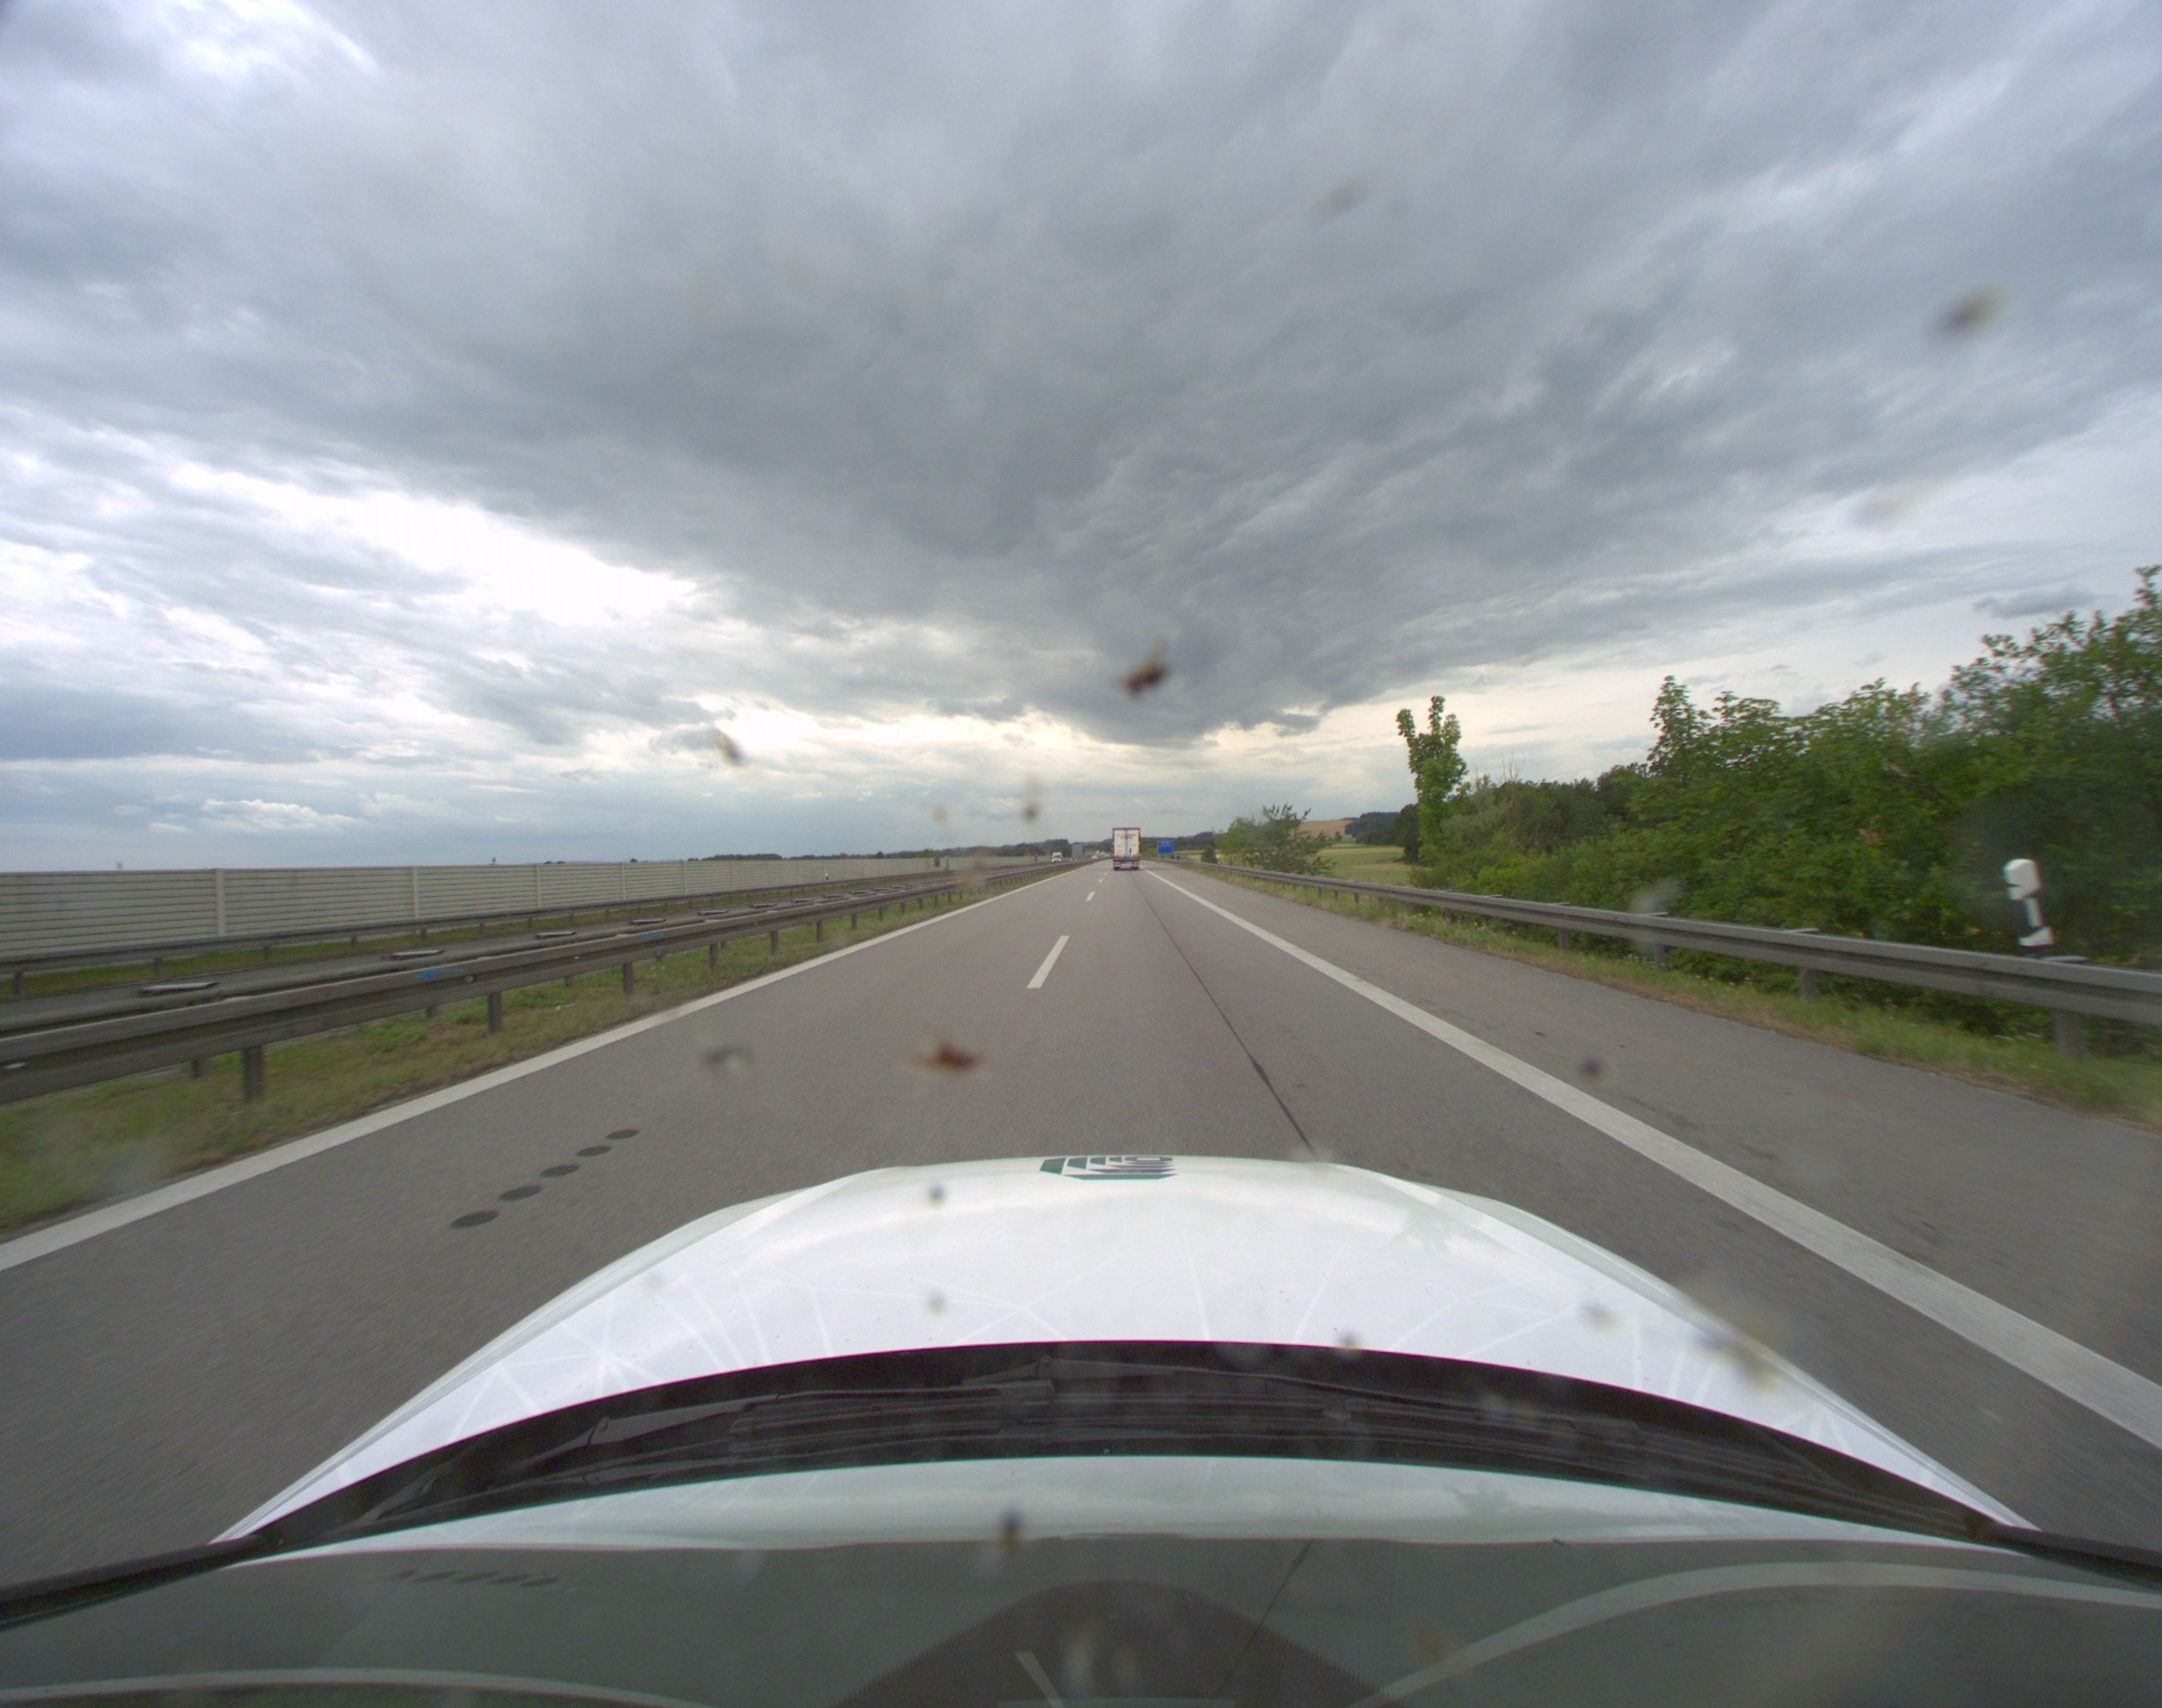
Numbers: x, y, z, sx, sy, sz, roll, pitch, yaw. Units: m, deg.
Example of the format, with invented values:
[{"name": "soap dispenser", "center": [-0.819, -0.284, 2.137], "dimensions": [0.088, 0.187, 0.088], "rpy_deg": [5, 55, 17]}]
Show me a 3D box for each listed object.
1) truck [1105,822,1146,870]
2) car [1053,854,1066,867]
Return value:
[{"name": "truck", "center": [4.440, -0.717, 84.237], "dimensions": [3.658, 4.412, 16.347], "rpy_deg": [-2, 0, 2]}, {"name": "car", "center": [-4.616, 1.316, 176.091], "dimensions": [2.062, 2.602, 6.292], "rpy_deg": [-5, -1, 2]}]
